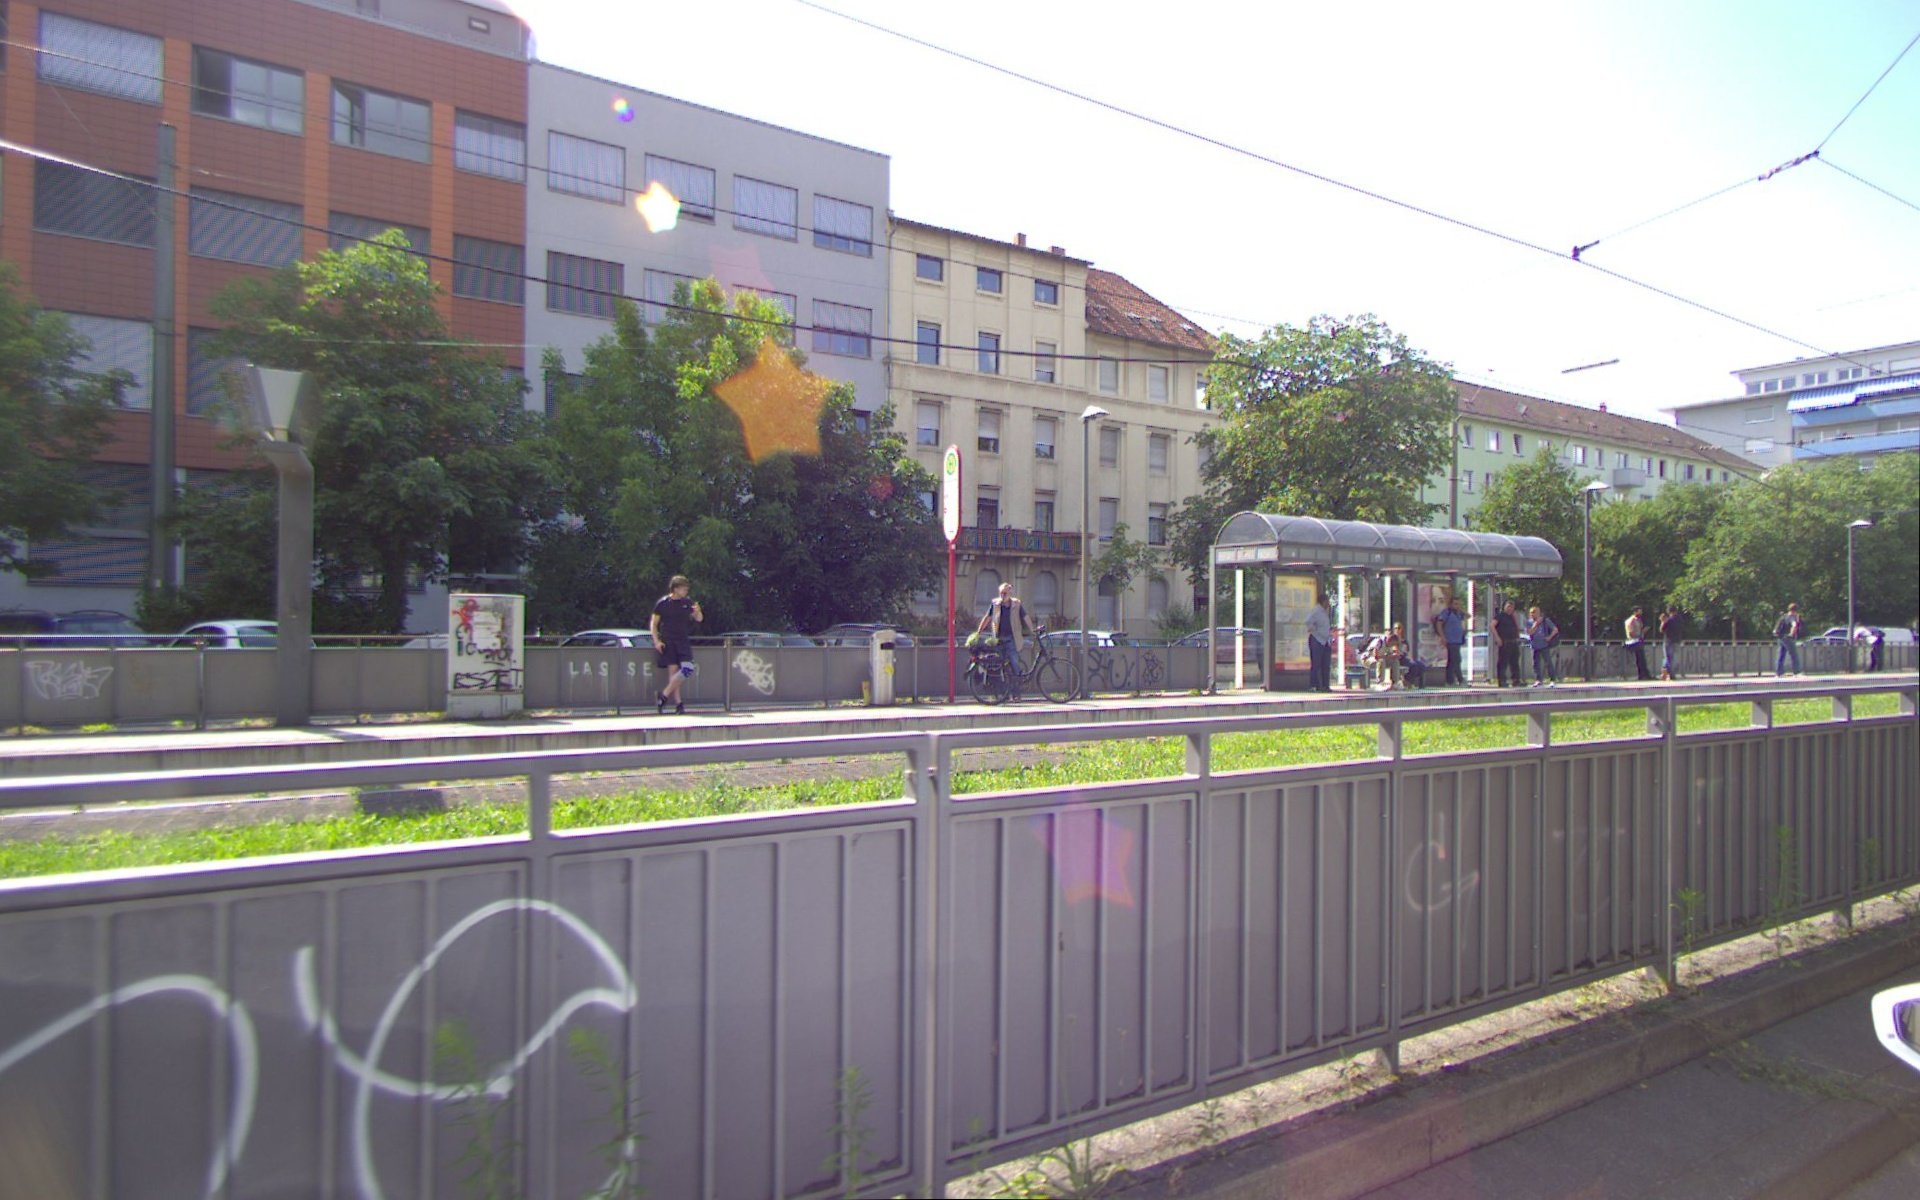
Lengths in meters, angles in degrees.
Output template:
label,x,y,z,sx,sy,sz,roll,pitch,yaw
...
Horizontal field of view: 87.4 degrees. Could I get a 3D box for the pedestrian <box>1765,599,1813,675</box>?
label,x,y,z,sx,sy,sz,roll,pitch,yaw
pedestrian,21.304,0.947,25.816,0.631,1.916,0.747,3,-2,-27

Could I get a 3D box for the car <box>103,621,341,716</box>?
label,x,y,z,sx,sy,sz,roll,pitch,yaw
car,-13.131,1.144,17.868,3.923,1.516,1.650,0,-1,24

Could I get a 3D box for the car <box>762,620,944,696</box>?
label,x,y,z,sx,sy,sz,roll,pitch,yaw
car,-2.510,1.324,23.518,3.924,1.661,1.672,0,-3,25

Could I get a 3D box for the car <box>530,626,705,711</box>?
label,x,y,z,sx,sy,sz,roll,pitch,yaw
car,-6.933,1.314,20.278,3.254,1.439,1.582,2,0,31

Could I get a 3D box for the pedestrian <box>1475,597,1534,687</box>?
label,x,y,z,sx,sy,sz,roll,pitch,yaw
pedestrian,11.001,0.838,20.287,1.025,1.765,0.629,2,-2,-32

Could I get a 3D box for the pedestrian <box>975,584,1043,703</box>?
label,x,y,z,sx,sy,sz,roll,pitch,yaw
pedestrian,0.736,0.654,15.197,0.790,1.747,0.634,2,-2,-32

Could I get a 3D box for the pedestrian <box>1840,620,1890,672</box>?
label,x,y,z,sx,sy,sz,roll,pitch,yaw
pedestrian,28.102,1.429,31.204,0.790,1.599,0.983,2,-2,-32

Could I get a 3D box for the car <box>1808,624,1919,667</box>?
label,x,y,z,sx,sy,sz,roll,pitch,yaw
car,46.076,2.291,51.335,3.881,2.097,2.046,0,-1,30

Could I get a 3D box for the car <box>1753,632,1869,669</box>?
label,x,y,z,sx,sy,sz,roll,pitch,yaw
car,41.121,2.418,48.631,3.924,1.662,1.826,0,0,24

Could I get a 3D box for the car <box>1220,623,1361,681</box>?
label,x,y,z,sx,sy,sz,roll,pitch,yaw
car,10.238,1.593,31.122,4.056,1.661,1.835,0,-2,21

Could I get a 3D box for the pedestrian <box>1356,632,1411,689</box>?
label,x,y,z,sx,sy,sz,roll,pitch,yaw
pedestrian,7.945,1.134,18.842,0.617,1.044,0.716,2,-3,-32

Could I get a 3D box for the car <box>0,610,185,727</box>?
label,x,y,z,sx,sy,sz,roll,pitch,yaw
car,-14.583,1.006,16.012,3.768,1.680,1.875,0,-1,22

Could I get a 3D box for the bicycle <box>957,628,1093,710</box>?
label,x,y,z,sx,sy,sz,roll,pitch,yaw
bicycle,0.940,0.981,14.483,1.849,1.128,0.660,1,-3,-22

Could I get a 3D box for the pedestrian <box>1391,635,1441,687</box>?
label,x,y,z,sx,sy,sz,roll,pitch,yaw
pedestrian,9.043,1.206,19.916,0.556,1.008,0.701,2,-3,-32

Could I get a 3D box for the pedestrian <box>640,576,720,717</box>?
label,x,y,z,sx,sy,sz,roll,pitch,yaw
pedestrian,-3.568,0.587,12.784,0.790,1.721,0.662,2,-2,-32

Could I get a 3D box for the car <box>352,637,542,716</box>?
label,x,y,z,sx,sy,sz,roll,pitch,yaw
car,-9.727,1.397,19.053,3.191,1.321,1.602,0,-1,26

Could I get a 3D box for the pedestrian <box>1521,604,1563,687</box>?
label,x,y,z,sx,sy,sz,roll,pitch,yaw
pedestrian,11.769,0.915,20.312,0.555,1.654,0.591,1,-1,-43

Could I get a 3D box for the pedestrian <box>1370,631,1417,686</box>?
label,x,y,z,sx,sy,sz,roll,pitch,yaw
pedestrian,8.461,1.138,19.612,0.556,1.044,0.650,2,-3,-32

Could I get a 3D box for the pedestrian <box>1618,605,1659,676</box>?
label,x,y,z,sx,sy,sz,roll,pitch,yaw
pedestrian,16.483,0.984,24.408,0.617,1.696,0.604,2,-2,-29

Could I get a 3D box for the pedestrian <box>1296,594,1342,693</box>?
label,x,y,z,sx,sy,sz,roll,pitch,yaw
pedestrian,6.488,0.780,18.139,0.617,1.749,0.483,2,-1,-32

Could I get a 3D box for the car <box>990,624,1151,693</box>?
label,x,y,z,sx,sy,sz,roll,pitch,yaw
car,2.933,1.505,26.764,3.924,1.549,1.671,2,1,24

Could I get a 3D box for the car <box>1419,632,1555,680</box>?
label,x,y,z,sx,sy,sz,roll,pitch,yaw
car,18.619,1.951,35.702,4.071,1.585,1.927,0,-2,20

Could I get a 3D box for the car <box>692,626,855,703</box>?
label,x,y,z,sx,sy,sz,roll,pitch,yaw
car,-4.029,1.375,21.771,3.009,1.428,1.672,2,-2,25

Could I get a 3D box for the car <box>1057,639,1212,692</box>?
label,x,y,z,sx,sy,sz,roll,pitch,yaw
car,4.935,1.814,28.470,3.930,1.165,1.788,2,1,32

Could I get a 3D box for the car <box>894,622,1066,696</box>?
label,x,y,z,sx,sy,sz,roll,pitch,yaw
car,0.502,1.412,25.088,3.924,1.549,1.671,2,1,25

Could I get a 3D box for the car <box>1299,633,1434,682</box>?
label,x,y,z,sx,sy,sz,roll,pitch,yaw
car,13.084,1.831,32.553,3.944,1.410,1.816,0,0,20

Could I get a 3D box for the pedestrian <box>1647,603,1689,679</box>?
label,x,y,z,sx,sy,sz,roll,pitch,yaw
pedestrian,16.772,0.972,23.816,0.612,1.777,0.609,1,-1,11

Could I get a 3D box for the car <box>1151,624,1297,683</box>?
label,x,y,z,sx,sy,sz,roll,pitch,yaw
car,7.785,1.523,29.649,3.926,1.589,1.607,0,-1,27

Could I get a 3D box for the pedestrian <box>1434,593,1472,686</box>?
label,x,y,z,sx,sy,sz,roll,pitch,yaw
pedestrian,10.038,0.805,20.436,0.617,1.851,0.440,2,-2,-32
